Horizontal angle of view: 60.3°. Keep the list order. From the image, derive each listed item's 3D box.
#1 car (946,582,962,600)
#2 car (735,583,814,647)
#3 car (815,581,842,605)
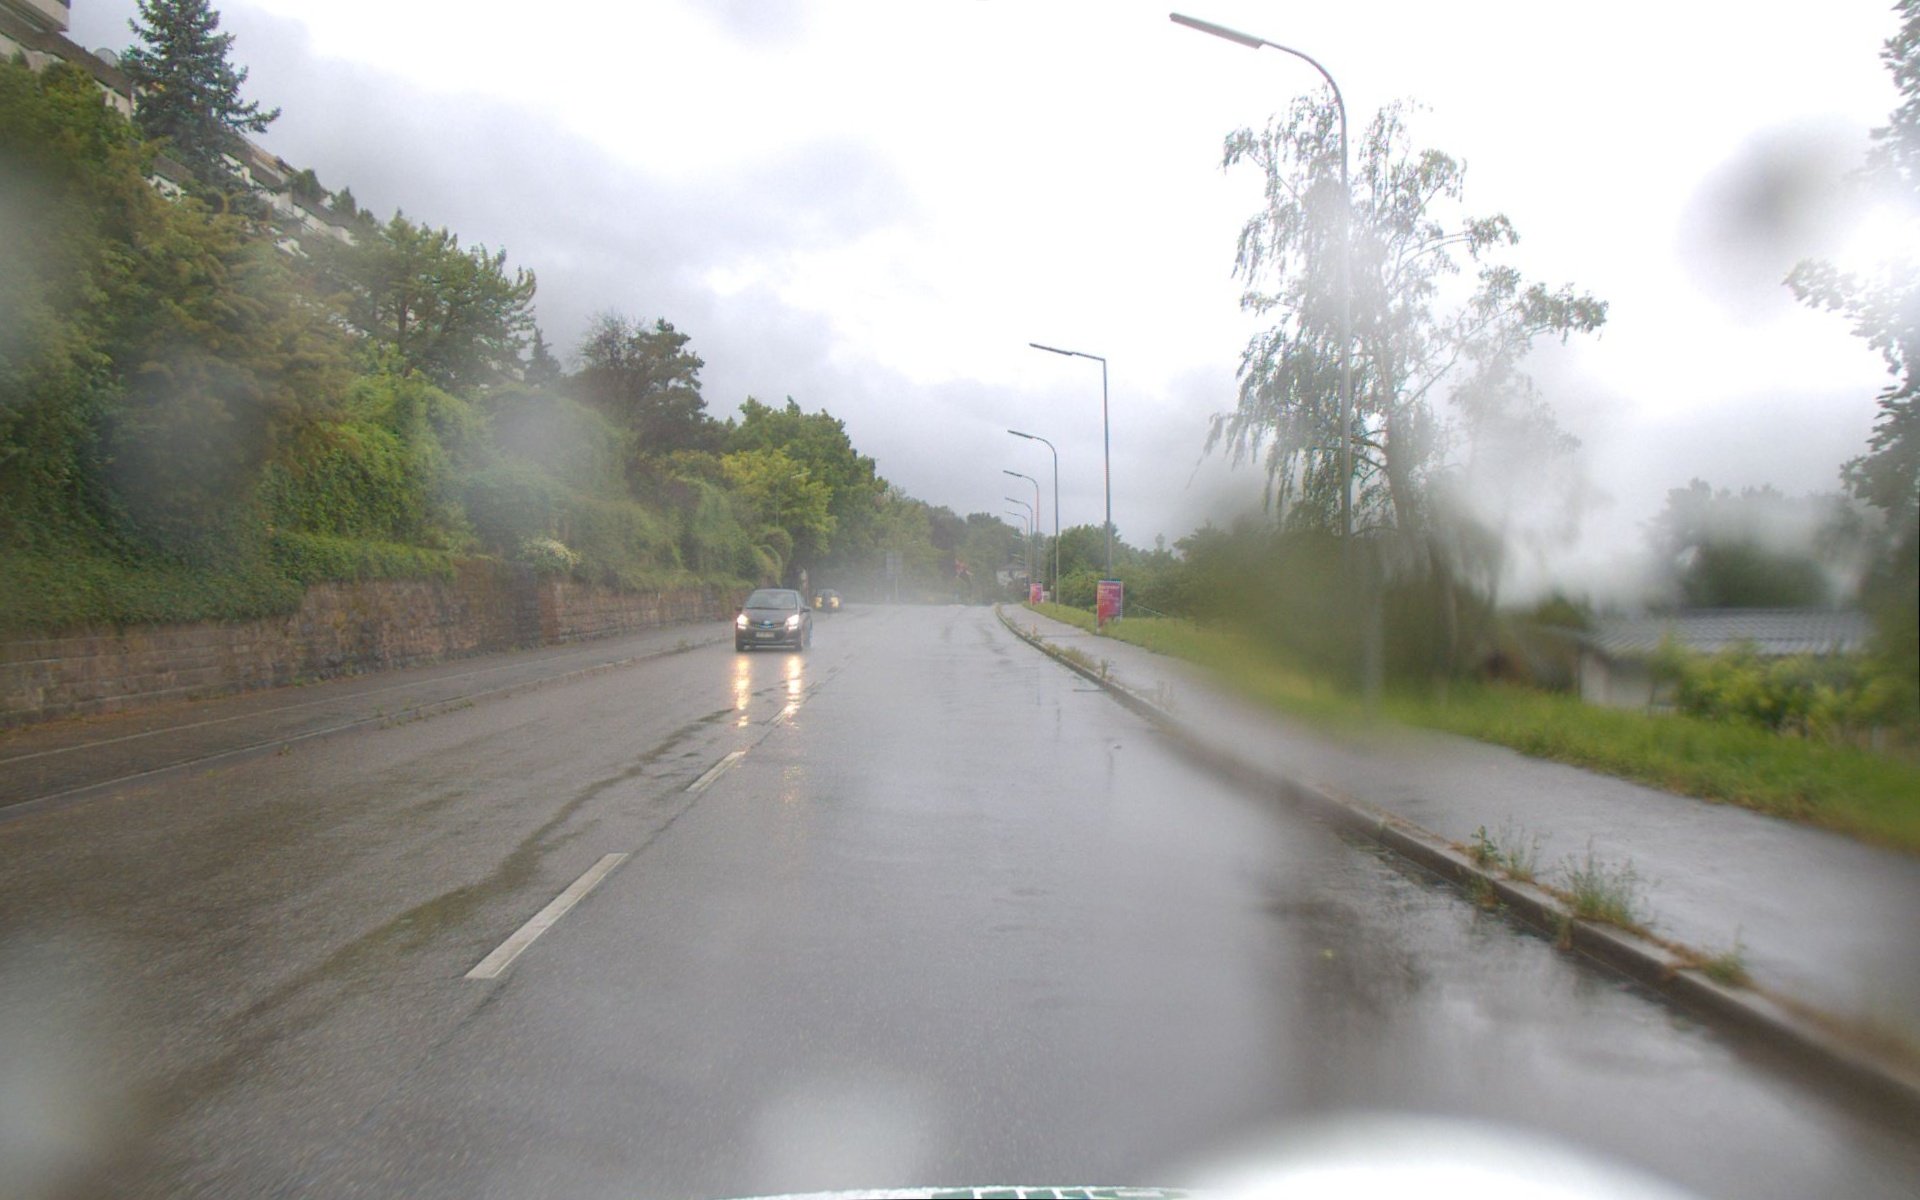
[{"bbox_3d":[-0.717,-1.060,197.931,1.953,2.049,3.999,0,0,-1],"label":"car"},{"bbox_3d":[-4.668,0.351,42.107,1.724,1.522,4.125,-1,0,-3],"label":"car"},{"bbox_3d":[-8.532,-0.459,107.405,1.693,1.522,3.985,-1,0,-3],"label":"car"}]
